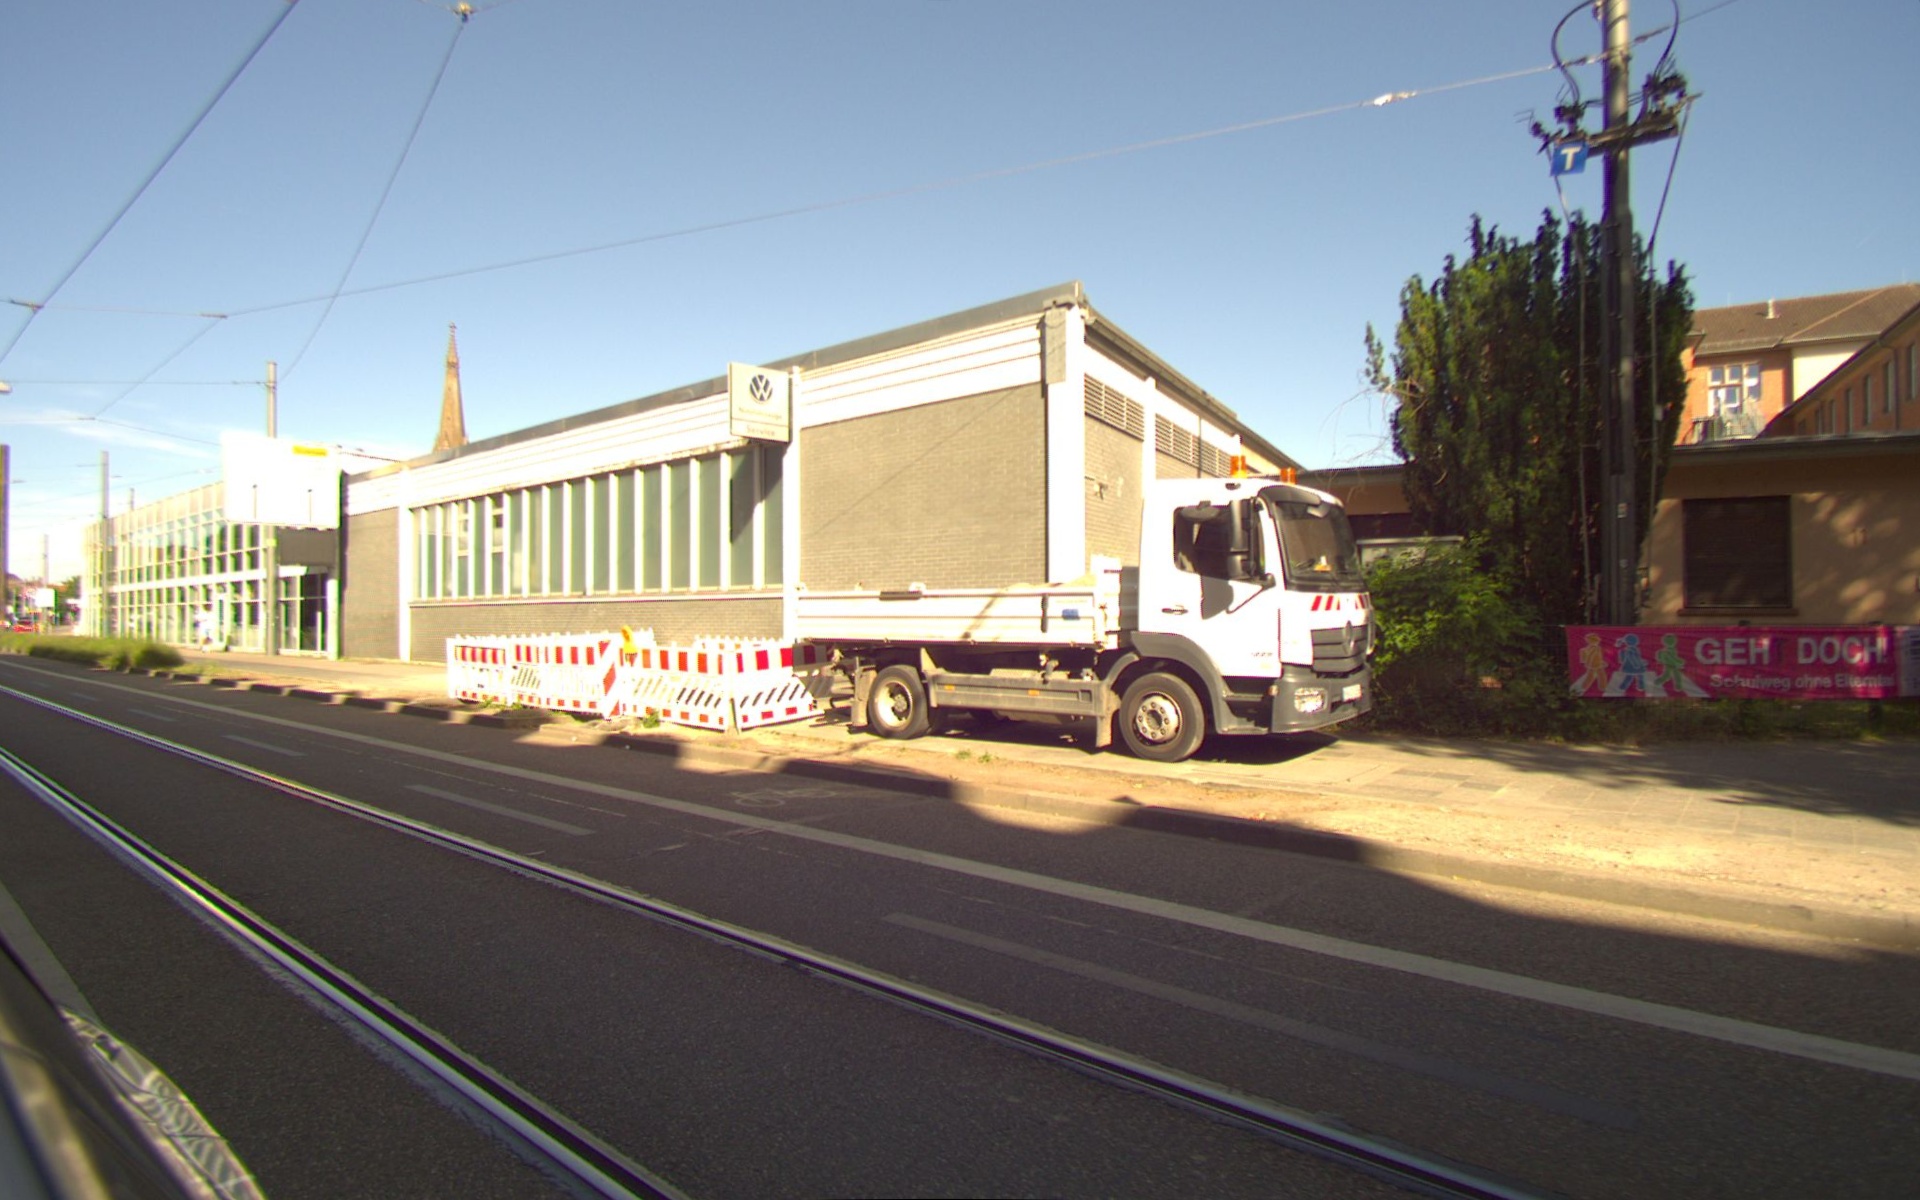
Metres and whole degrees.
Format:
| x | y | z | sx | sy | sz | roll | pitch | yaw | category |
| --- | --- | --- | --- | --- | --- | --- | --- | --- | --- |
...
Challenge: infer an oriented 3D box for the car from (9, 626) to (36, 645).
| x | y | z | sx | sy | sz | roll | pitch | yaw | category |
| --- | --- | --- | --- | --- | --- | --- | --- | --- | --- |
| -89.252 | 3.394 | 96.353 | 1.778 | 1.732 | 4.420 | 2 | -2 | -43 | car |

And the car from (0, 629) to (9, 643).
| x | y | z | sx | sy | sz | roll | pitch | yaw | category |
| --- | --- | --- | --- | --- | --- | --- | --- | --- | --- |
| -108.938 | 4.048 | 114.448 | 3.970 | 1.490 | 1.632 | -1 | -3 | 42 | car |

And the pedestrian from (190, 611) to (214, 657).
| x | y | z | sx | sy | sz | roll | pitch | yaw | category |
| --- | --- | --- | --- | --- | --- | --- | --- | --- | --- |
| -29.757 | 1.312 | 39.726 | 1.050 | 1.778 | 0.521 | -1 | 0 | 41 | pedestrian |

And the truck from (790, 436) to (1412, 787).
| x | y | z | sx | sy | sz | roll | pitch | yaw | category |
| --- | --- | --- | --- | --- | --- | --- | --- | --- | --- |
| 1.268 | 0.108 | 11.157 | 6.366 | 2.851 | 2.514 | -1 | 0 | 38 | truck |
